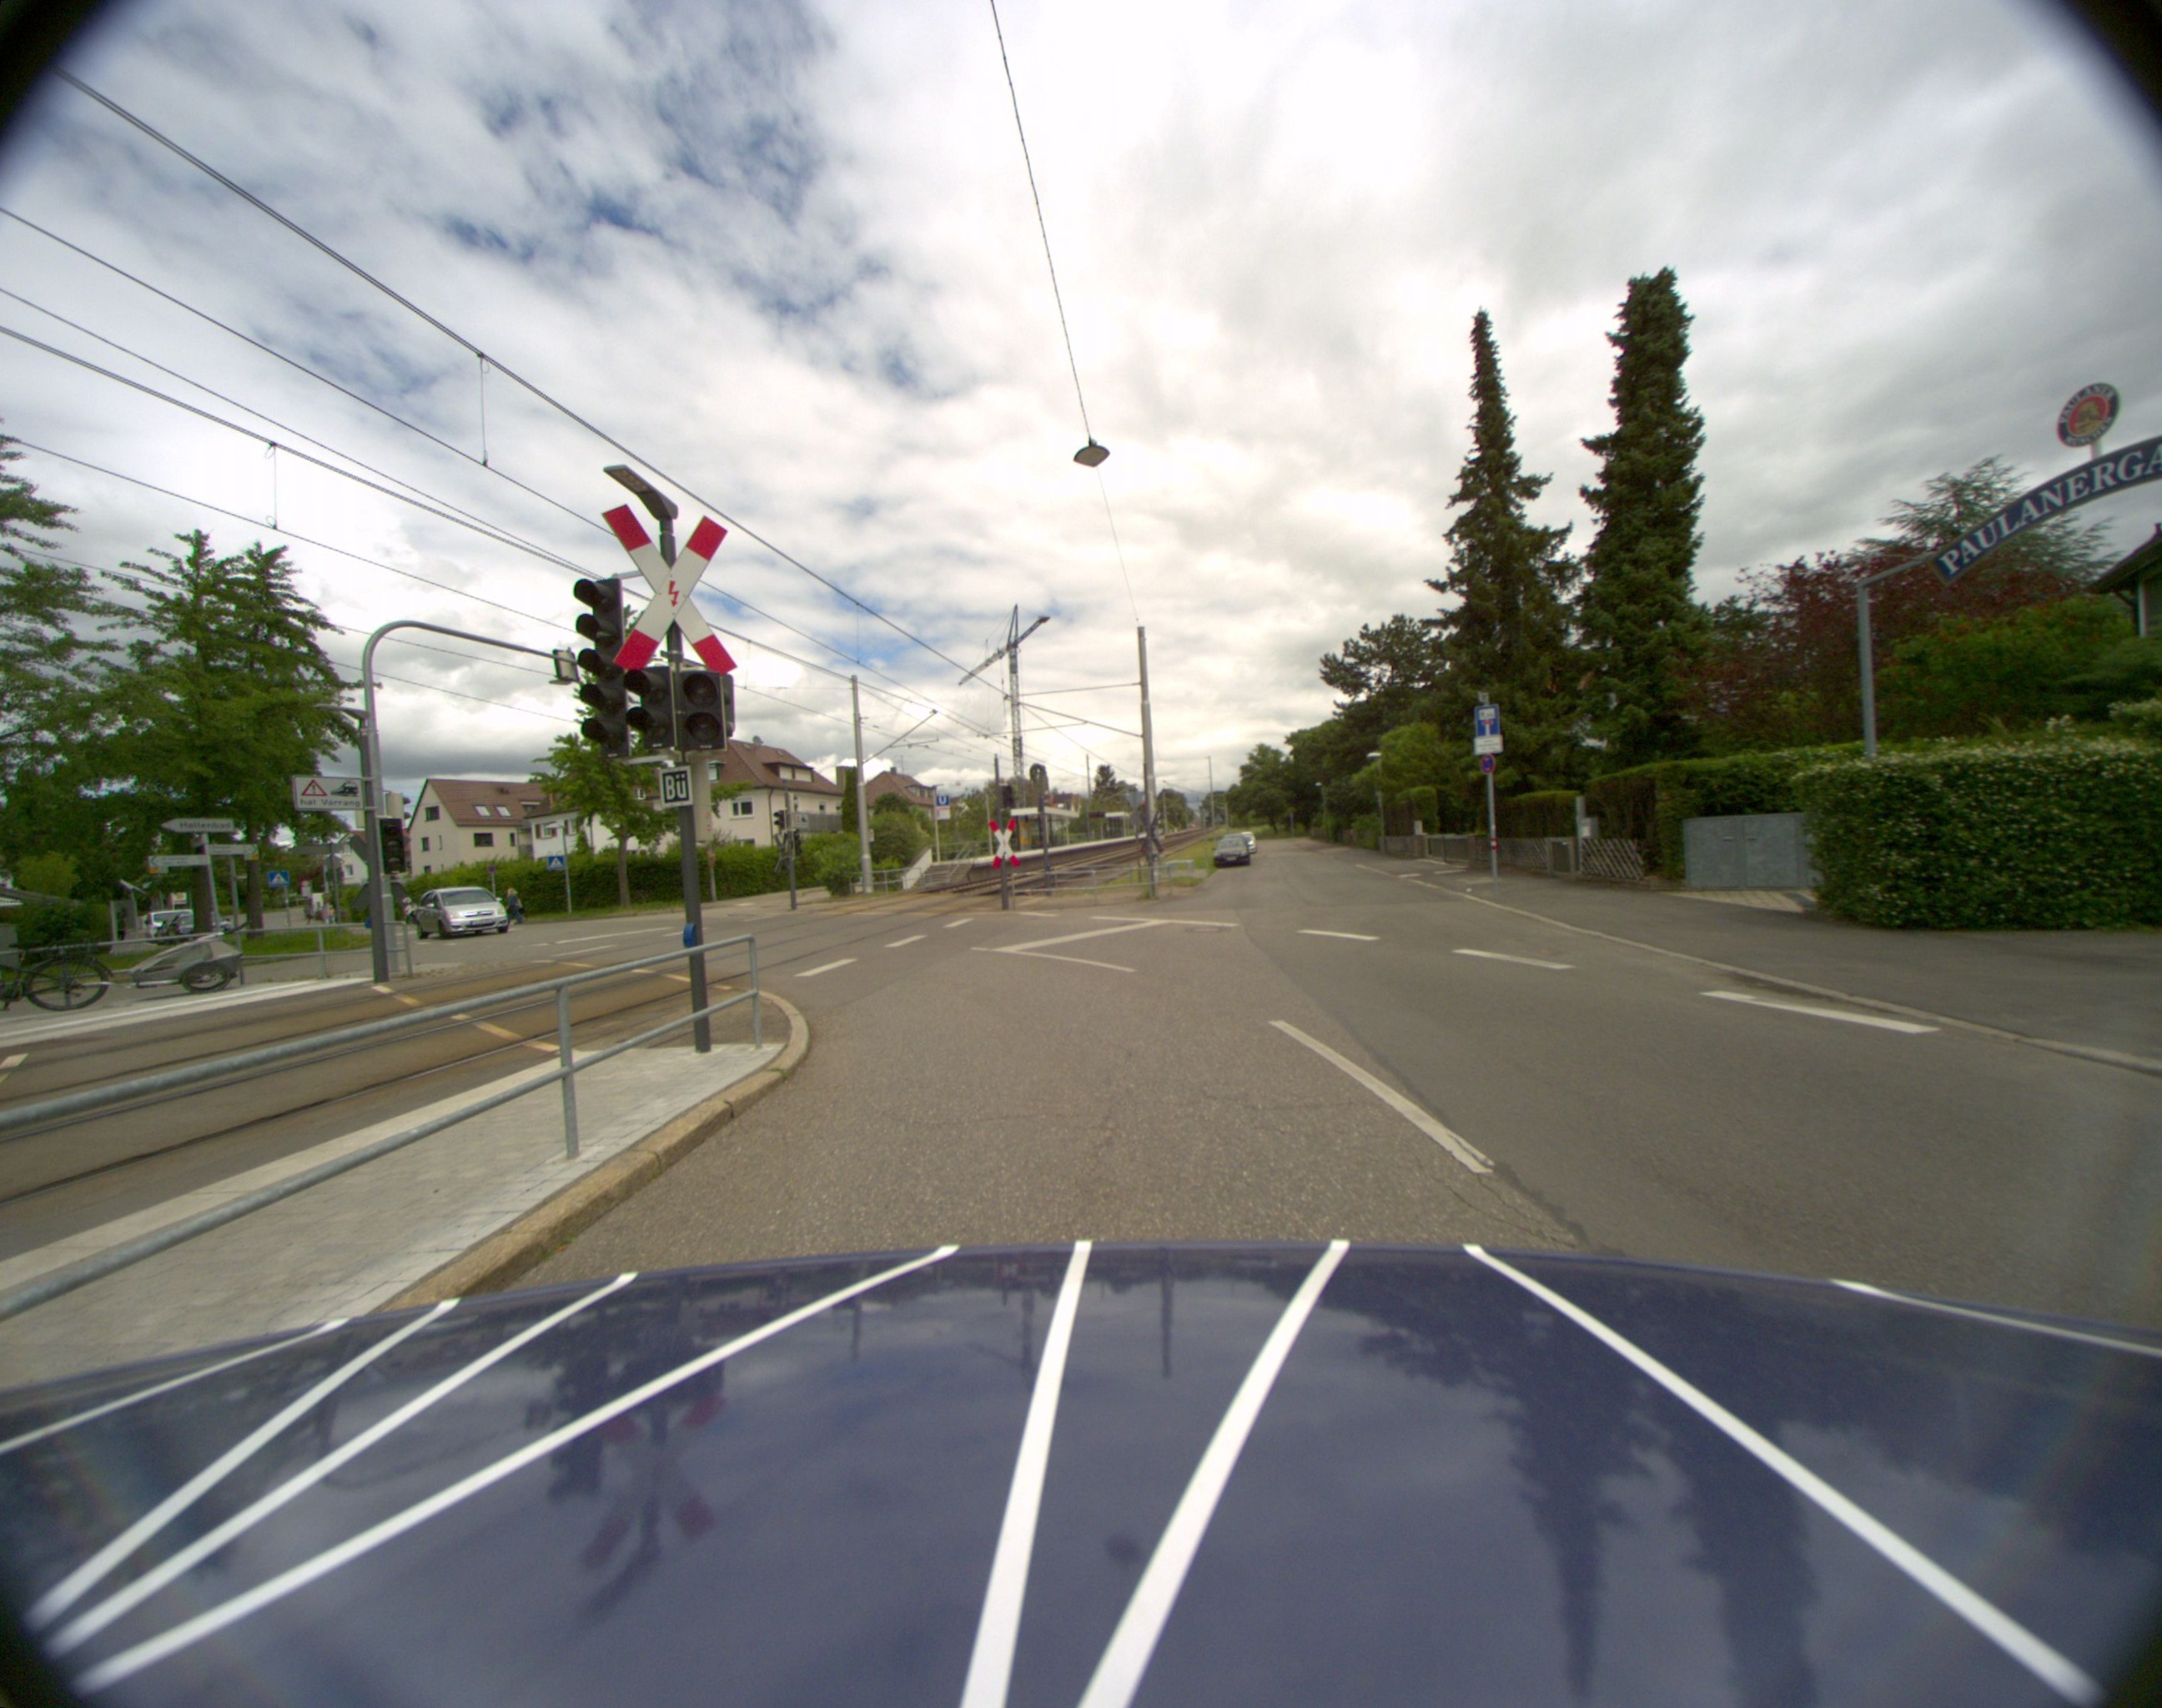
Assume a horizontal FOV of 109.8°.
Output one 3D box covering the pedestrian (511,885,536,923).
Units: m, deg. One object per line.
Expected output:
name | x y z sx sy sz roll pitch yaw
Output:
pedestrian | -25.189 2.267 34.316 0.599 1.611 0.676 -7 3 -23

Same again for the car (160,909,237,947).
car | -44.353 3.698 38.170 4.454 1.627 1.856 -4 2 34

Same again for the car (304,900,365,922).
car | -73.593 5.615 74.948 1.880 1.718 4.007 -4 1 38

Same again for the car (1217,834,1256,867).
car | 8.224 -0.217 40.415 1.820 1.493 4.122 -4 1 11

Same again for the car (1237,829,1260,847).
car | 14.958 -1.434 67.772 1.852 1.368 4.003 -4 1 13

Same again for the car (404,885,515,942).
car | -20.102 1.903 24.543 3.917 1.559 1.730 -4 1 36

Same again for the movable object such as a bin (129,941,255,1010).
movable object such as a bin | -13.279 1.787 11.377 0.578 0.820 1.096 -3 1 31

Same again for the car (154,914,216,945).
car | -48.817 4.090 41.382 3.825 1.444 1.715 -4 2 35

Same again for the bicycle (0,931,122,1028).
bicycle | -14.433 1.726 10.282 0.465 1.149 1.695 -3 1 28

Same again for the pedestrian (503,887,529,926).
pedestrian | -24.940 2.311 33.549 0.599 1.611 0.676 -7 3 -23

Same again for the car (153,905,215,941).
car | -58.046 4.461 49.139 5.552 2.002 2.003 -4 2 36

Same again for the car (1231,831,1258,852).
car | 12.347 -0.981 57.124 1.852 1.368 4.003 -4 1 13

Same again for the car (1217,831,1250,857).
car | 9.703 -0.652 48.230 1.852 1.472 4.003 -4 1 13

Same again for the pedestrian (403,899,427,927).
pedestrian | -39.029 3.434 44.532 0.543 1.522 0.750 -4 2 23
